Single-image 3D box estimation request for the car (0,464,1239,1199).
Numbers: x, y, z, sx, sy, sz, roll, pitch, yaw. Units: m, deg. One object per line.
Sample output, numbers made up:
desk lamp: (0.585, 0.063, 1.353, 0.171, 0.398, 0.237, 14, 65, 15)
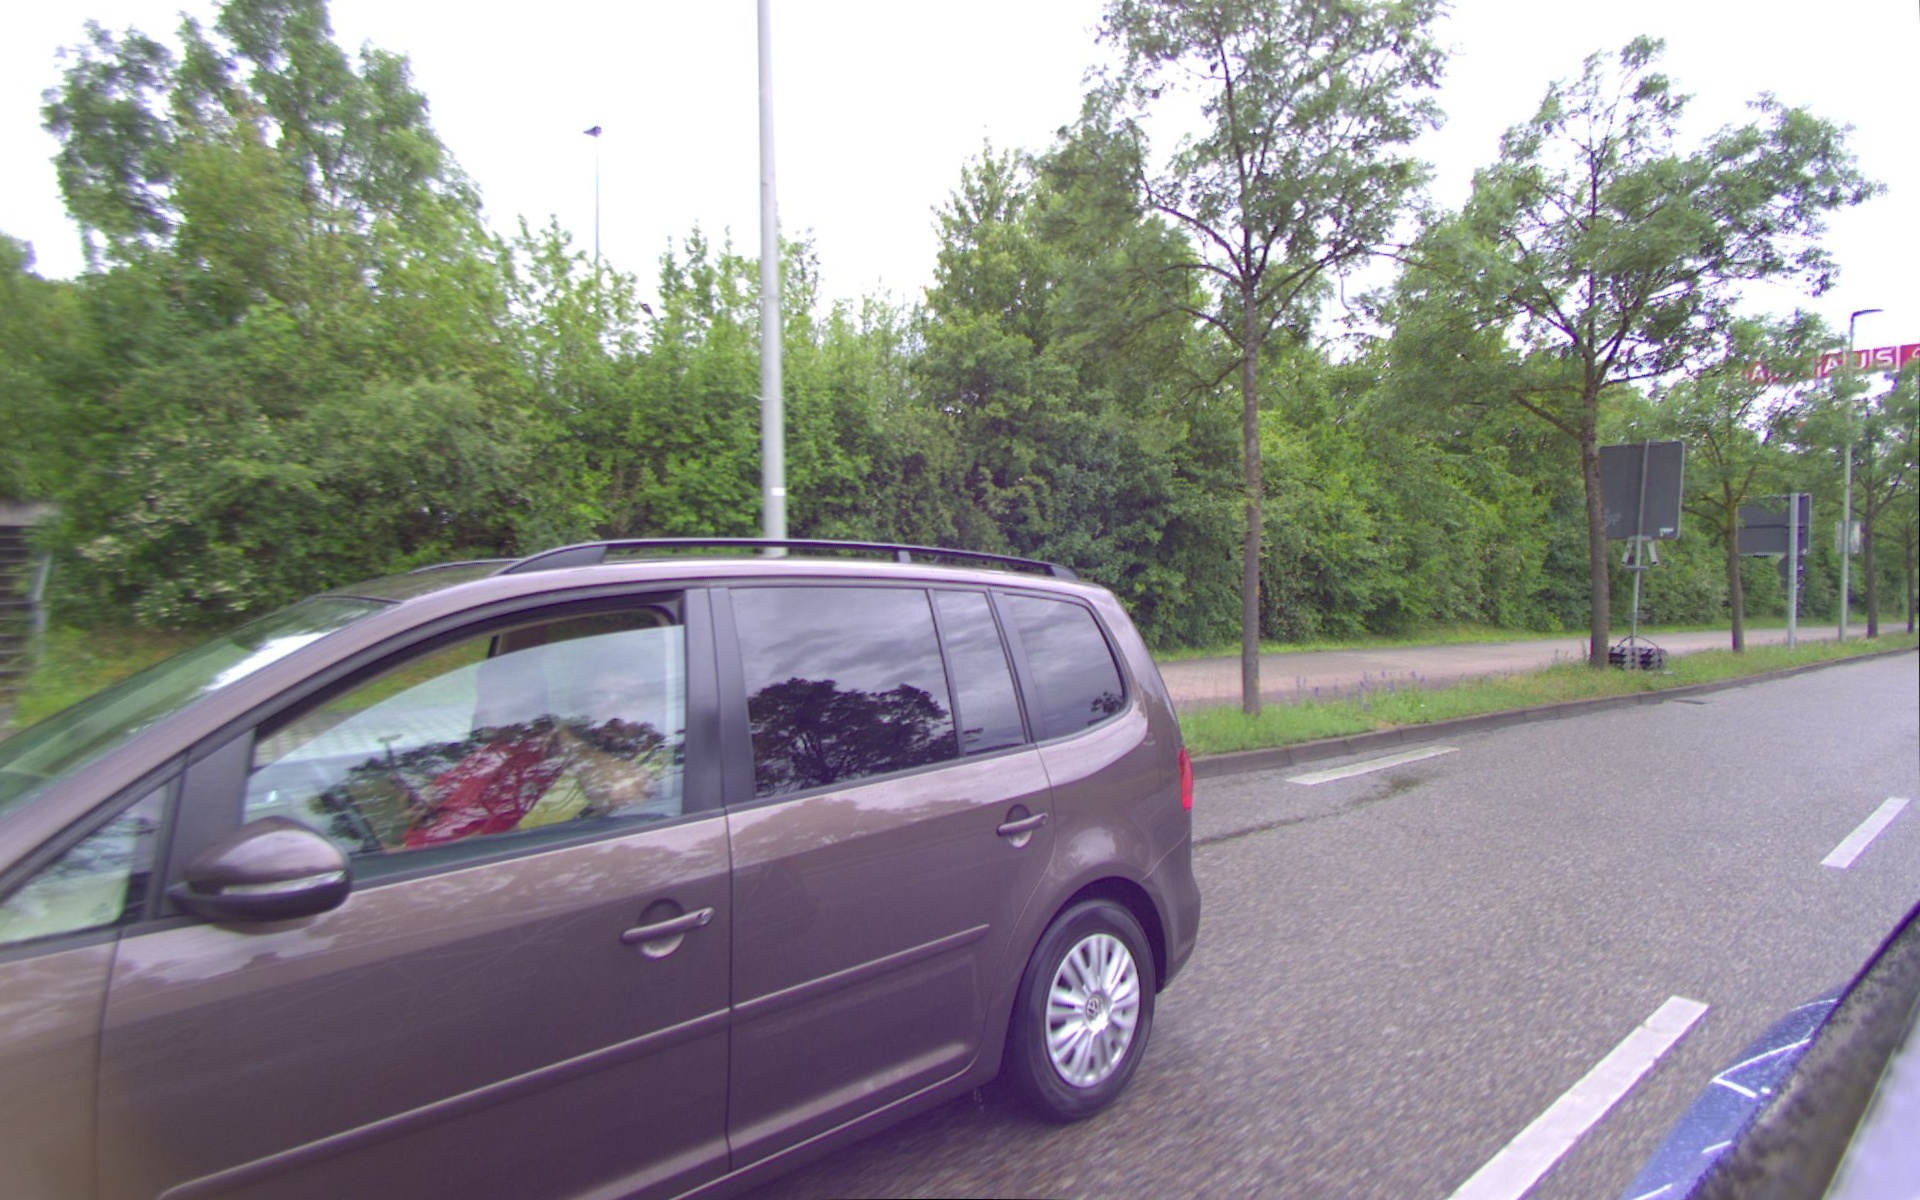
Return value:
car: (-1.169, 0.612, 2.624, 4.059, 1.617, 1.717, 0, 0, -41)
